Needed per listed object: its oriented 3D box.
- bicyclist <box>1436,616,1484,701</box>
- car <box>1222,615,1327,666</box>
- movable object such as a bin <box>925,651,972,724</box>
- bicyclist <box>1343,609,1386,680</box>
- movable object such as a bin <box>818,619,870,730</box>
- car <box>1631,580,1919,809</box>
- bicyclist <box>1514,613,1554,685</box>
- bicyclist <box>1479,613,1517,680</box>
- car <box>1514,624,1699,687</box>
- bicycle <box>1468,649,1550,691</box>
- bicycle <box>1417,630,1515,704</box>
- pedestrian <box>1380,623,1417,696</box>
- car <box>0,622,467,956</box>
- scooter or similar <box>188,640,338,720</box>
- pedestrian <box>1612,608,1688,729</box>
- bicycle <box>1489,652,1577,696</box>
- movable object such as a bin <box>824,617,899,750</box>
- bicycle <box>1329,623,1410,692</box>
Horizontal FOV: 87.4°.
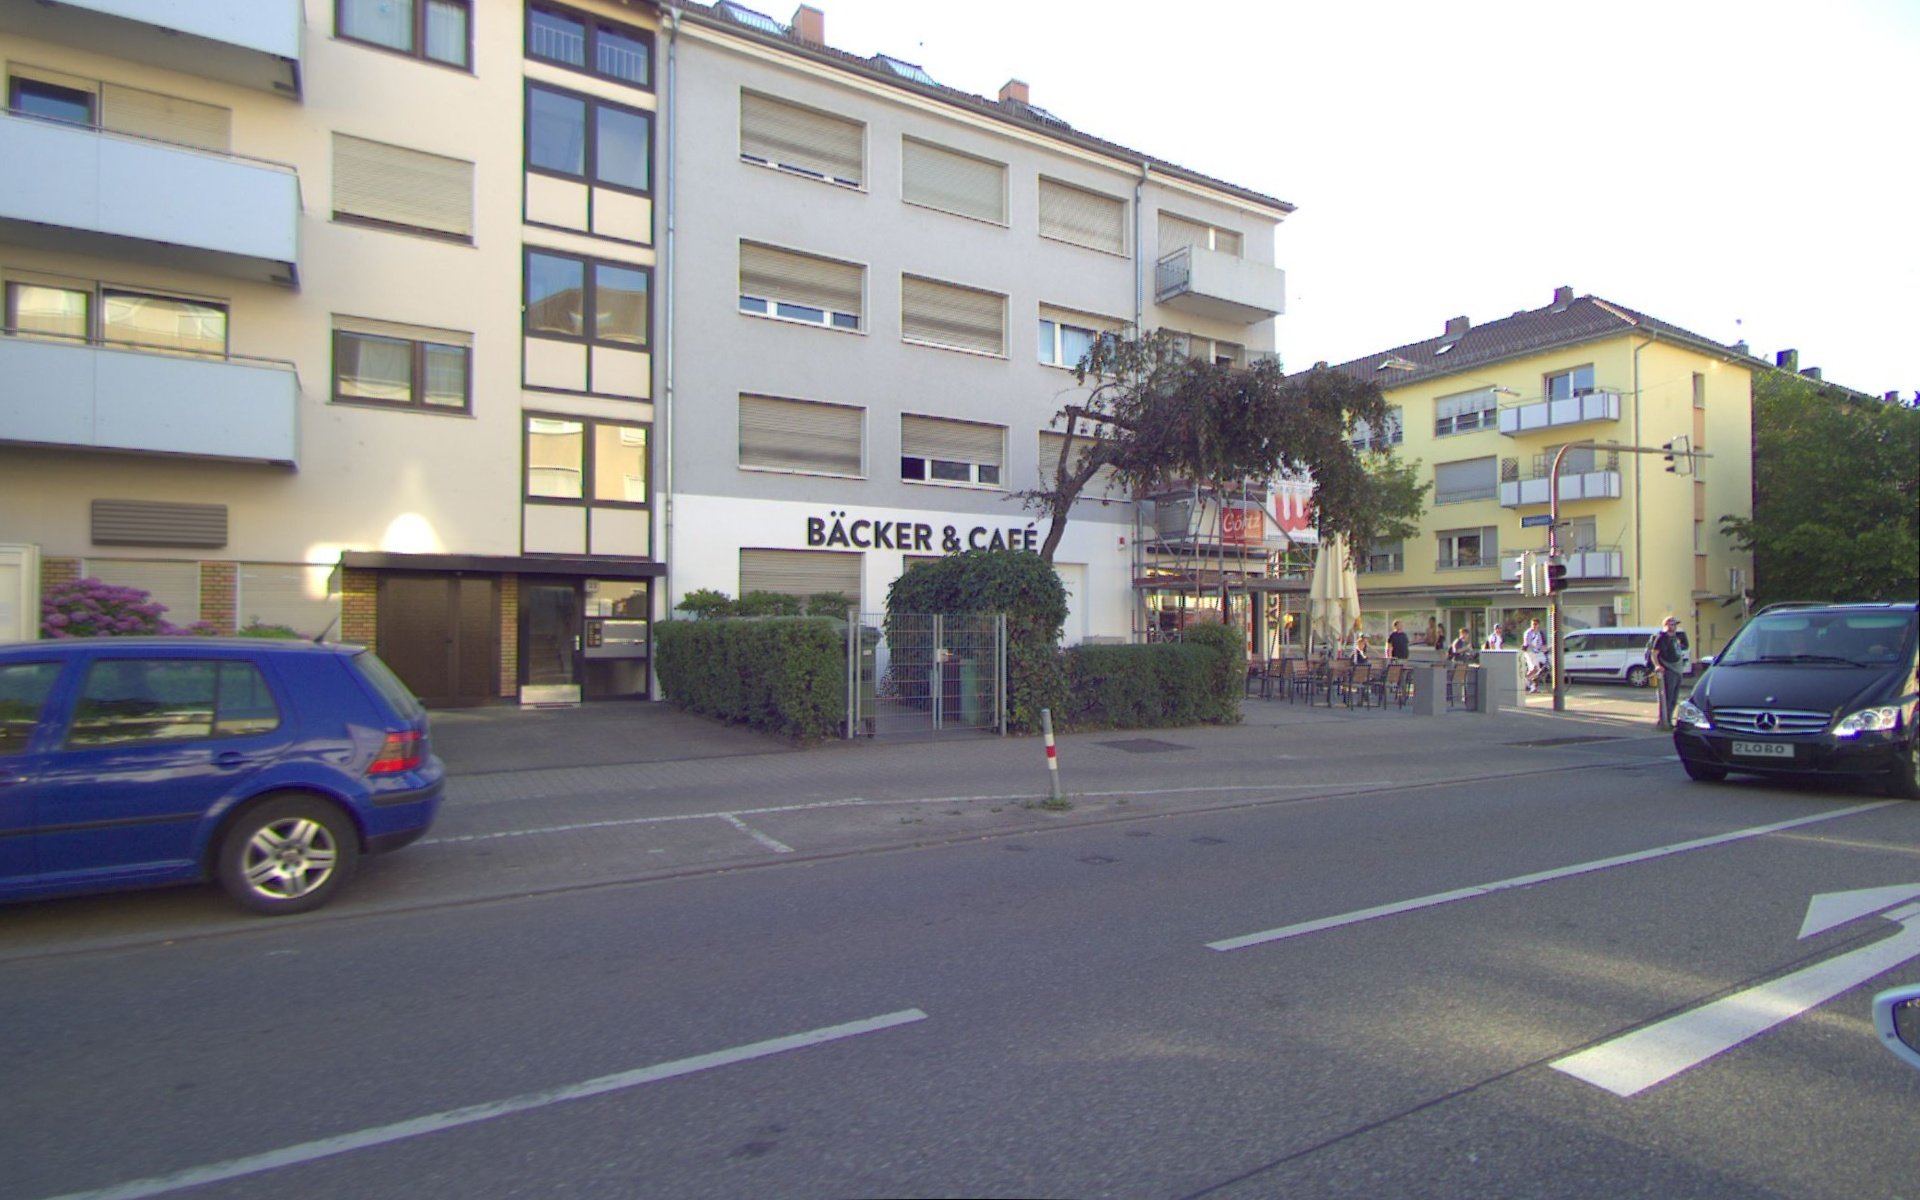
[{"bbox_3d":[12.198,1.413,24.528,0.835,2.040,0.721,1,-2,-33],"label":"bicyclist"},{"bbox_3d":[13.233,1.672,42.464,1.977,2.040,3.968,1,-2,-30],"label":"car"},{"bbox_3d":[-0.164,1.224,14.175,0.434,0.981,0.601,1,-2,-30],"label":"movable object such as a bin"},{"bbox_3d":[10.644,1.160,26.440,0.702,1.823,0.781,1,-2,-32],"label":"bicyclist"},{"bbox_3d":[-1.551,0.983,13.439,0.569,1.446,0.390,1,-2,-32],"label":"movable object such as a bin"},{"bbox_3d":[9.458,0.907,10.649,4.908,1.933,1.984,1,-4,-32],"label":"car"},{"bbox_3d":[15.077,1.285,26.381,0.648,1.847,0.733,1,-2,-39],"label":"bicyclist"},{"bbox_3d":[15.037,1.288,28.100,0.648,1.847,0.733,1,-2,-39],"label":"bicyclist"},{"bbox_3d":[20.291,1.708,31.735,1.840,1.835,4.612,1,-2,-30],"label":"car"},{"bbox_3d":[15.193,1.914,27.838,0.713,1.085,1.884,2,-2,-39],"label":"bicycle"},{"bbox_3d":[12.223,1.587,24.331,0.749,1.729,2.011,1,-2,-33],"label":"bicycle"},{"bbox_3d":[10.418,1.395,23.856,0.638,1.697,0.573,1,-2,-40],"label":"pedestrian"},{"bbox_3d":[-4.961,0.905,5.406,4.027,1.538,1.640,1,-1,-31],"label":"car"},{"bbox_3d":[-10.083,1.131,14.603,1.748,1.110,0.382,1,-2,-32],"label":"scooter or similar"},{"bbox_3d":[11.810,1.155,17.200,0.811,2.014,0.776,1,-2,-30],"label":"pedestrian"},{"bbox_3d":[15.053,1.914,26.406,0.713,1.085,1.884,2,-2,-39],"label":"bicycle"},{"bbox_3d":[-1.186,0.982,12.103,0.732,1.532,0.590,1,-2,-29],"label":"movable object such as a bin"},{"bbox_3d":[10.710,1.487,26.337,0.749,1.729,1.909,1,-2,-33],"label":"bicycle"}]
